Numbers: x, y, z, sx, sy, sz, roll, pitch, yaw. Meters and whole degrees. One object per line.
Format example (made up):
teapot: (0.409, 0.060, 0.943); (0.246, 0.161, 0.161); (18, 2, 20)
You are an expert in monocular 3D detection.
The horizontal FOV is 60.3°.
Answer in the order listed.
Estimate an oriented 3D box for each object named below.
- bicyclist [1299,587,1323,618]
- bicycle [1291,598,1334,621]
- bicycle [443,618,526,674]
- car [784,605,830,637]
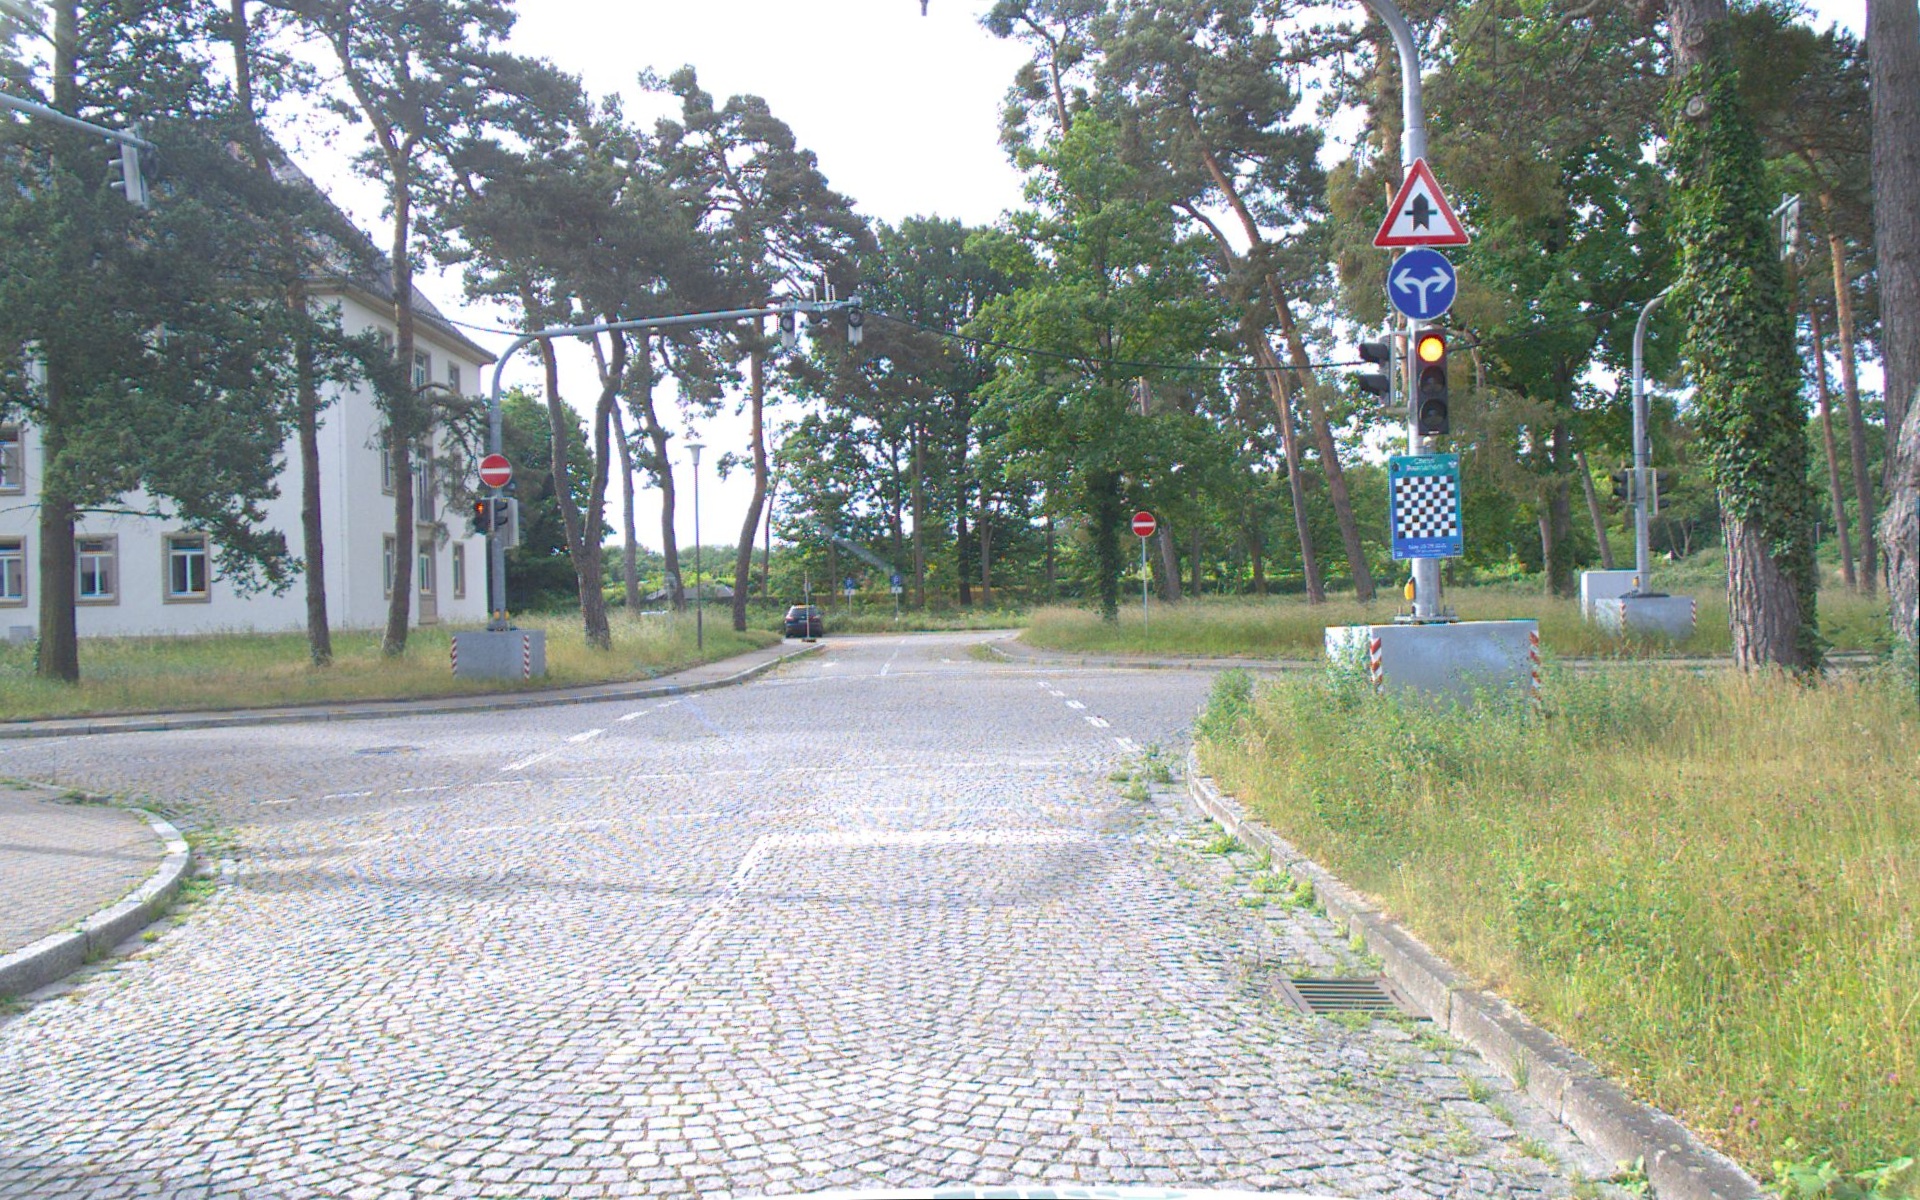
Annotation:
bicyclist: (17.971, 0.115, 84.646); (0.955, 1.537, 0.806); (-2, 0, -5)
bicycle: (18.039, 0.485, 84.662); (1.948, 1.114, 0.809); (-2, 0, -5)
bicycle: (-9.063, 0.871, 31.546); (1.432, 1.013, 0.451); (-2, 0, -8)
car: (-7.506, 1.009, 81.465); (1.953, 1.534, 4.000); (0, 0, 0)
